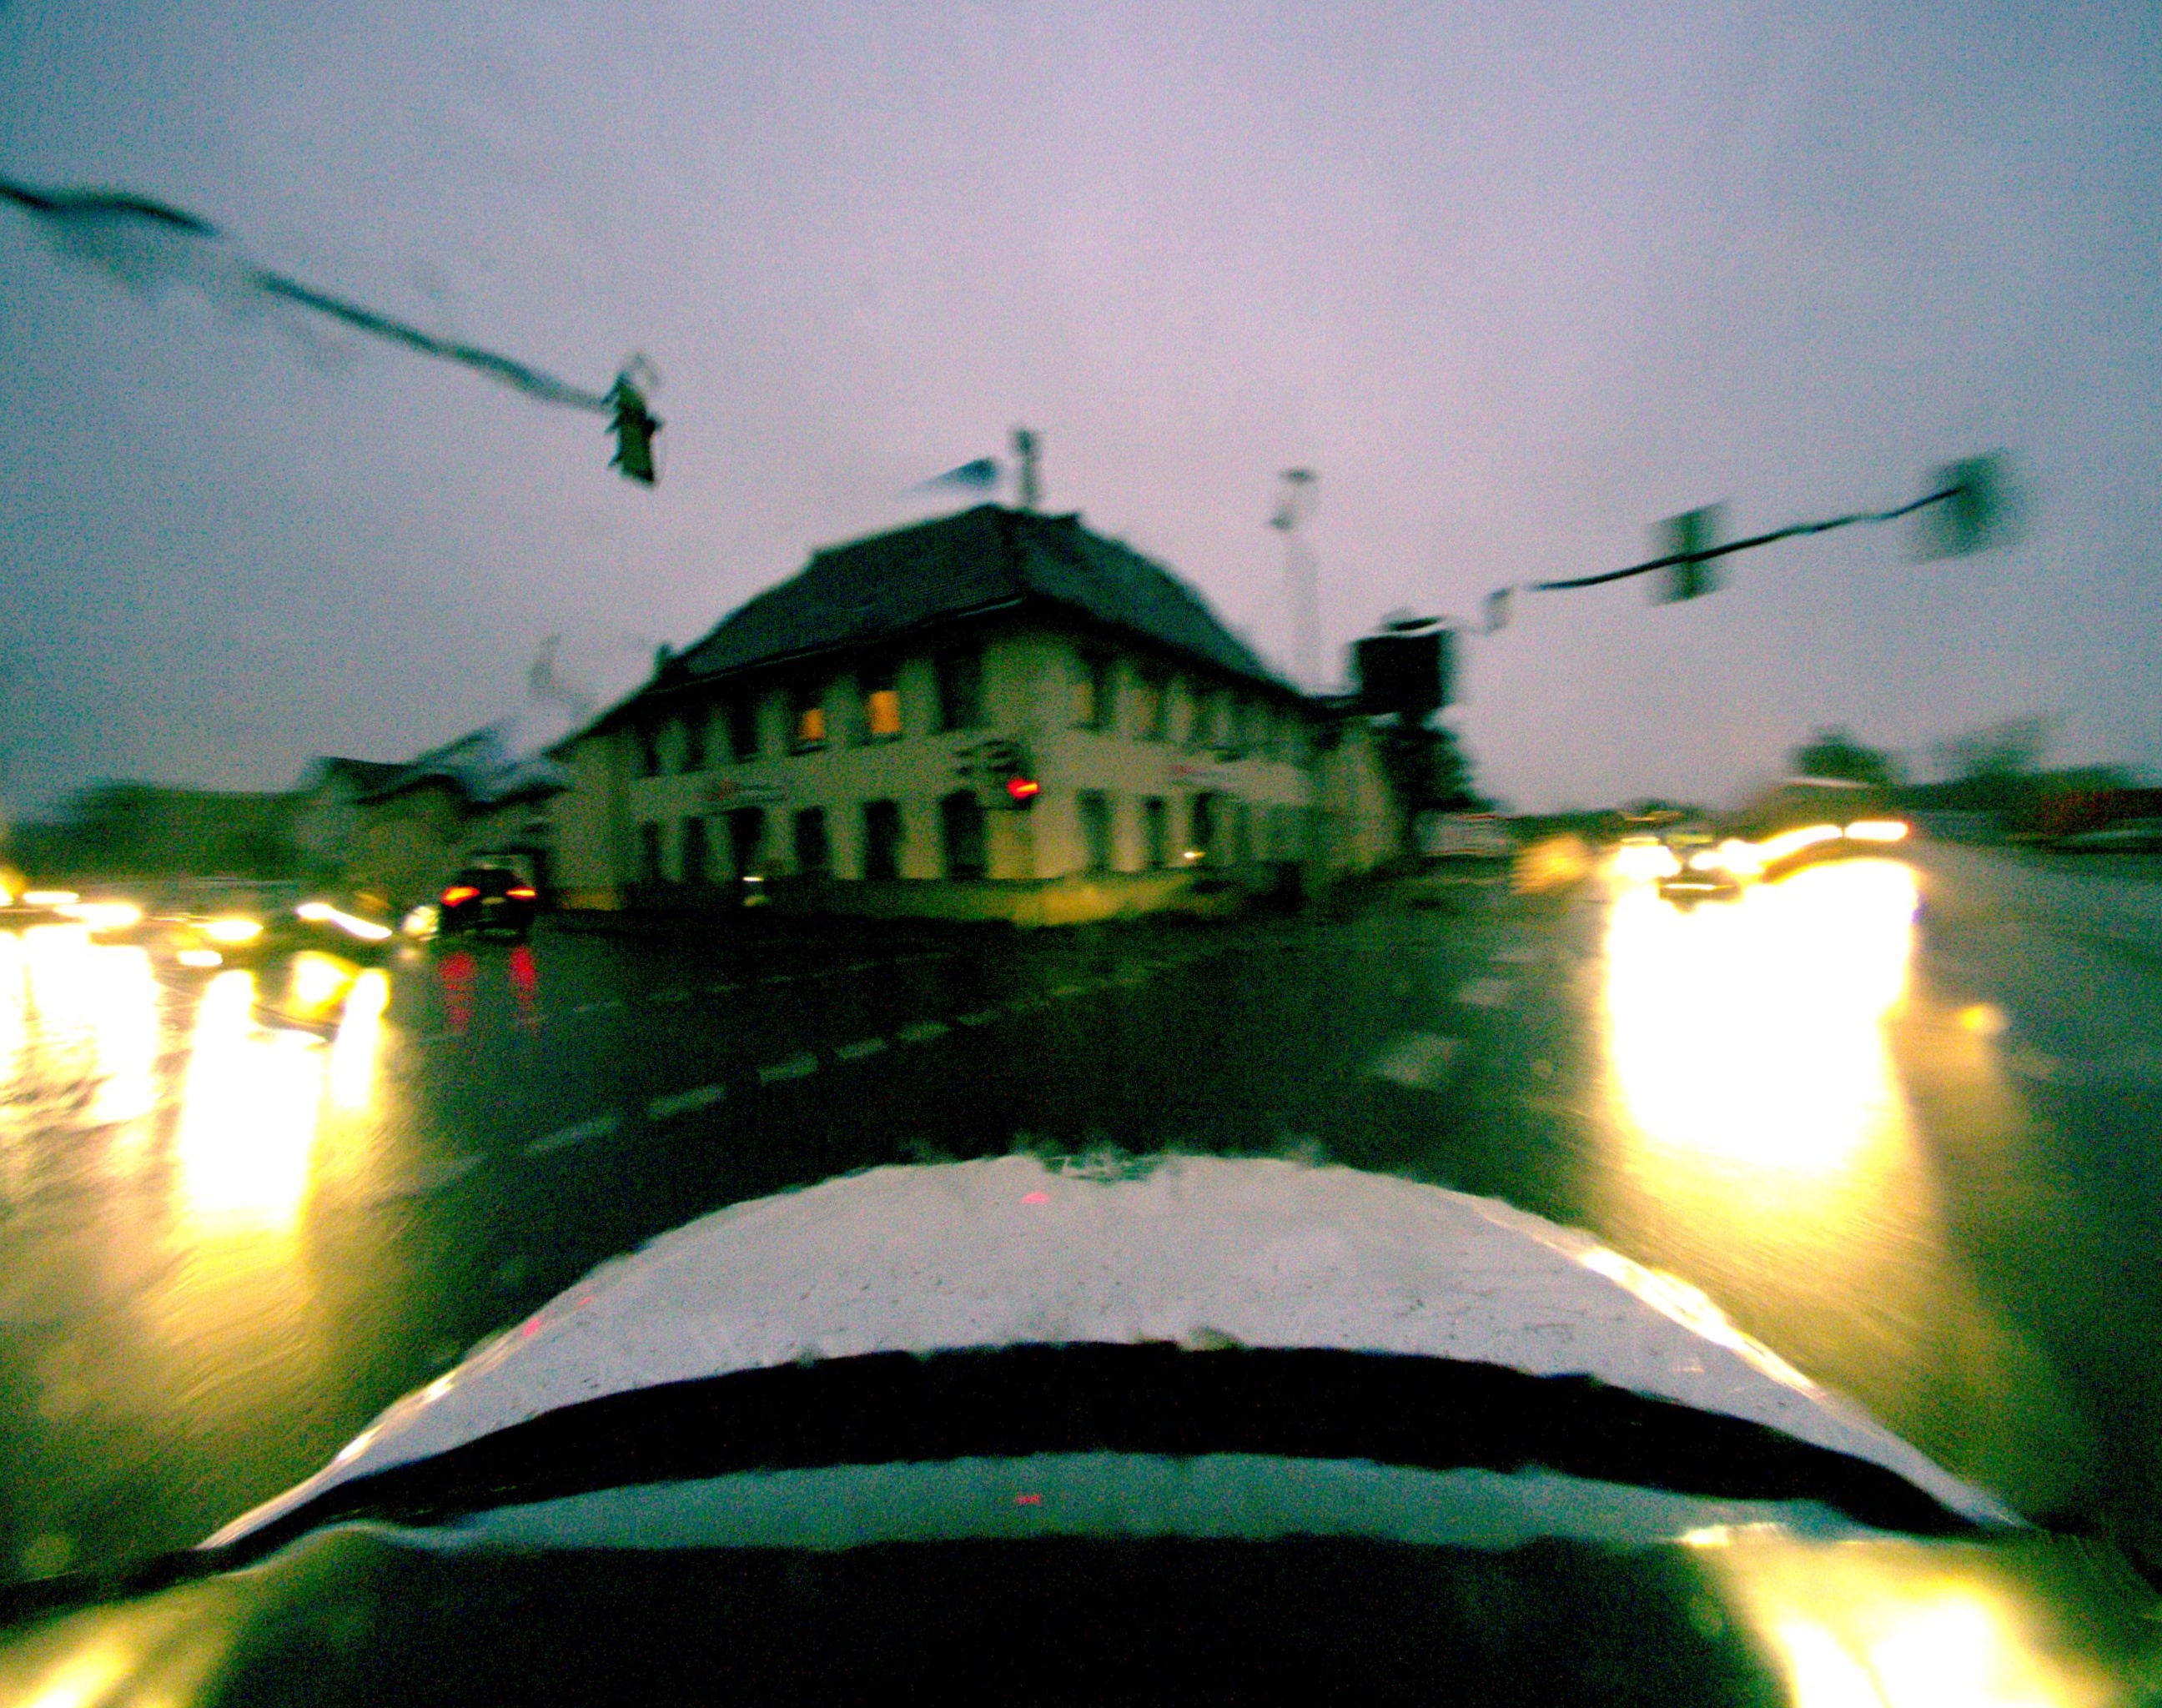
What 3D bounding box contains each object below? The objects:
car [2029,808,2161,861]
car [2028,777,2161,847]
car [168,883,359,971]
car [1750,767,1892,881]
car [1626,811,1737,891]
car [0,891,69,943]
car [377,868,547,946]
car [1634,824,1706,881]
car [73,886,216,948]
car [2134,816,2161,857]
[{"bbox_3d":[43.881,-0.819,34.927,2.012,2.013,3.950,-2,-1,-45],"label":"car"},{"bbox_3d":[46.954,-1.913,36.669,5.202,2.870,1.788,-3,-1,28],"label":"car"},{"bbox_3d":[-16.296,1.345,16.176,4.465,1.394,1.898,-1,1,35],"label":"car"},{"bbox_3d":[21.457,-0.837,23.917,2.378,2.892,6.291,1,2,36],"label":"car"},{"bbox_3d":[14.905,-0.099,20.177,1.974,1.746,4.026,-3,0,38],"label":"car"},{"bbox_3d":[-36.686,2.143,27.941,4.235,1.585,1.894,-2,1,32],"label":"car"},{"bbox_3d":[-14.901,1.225,19.522,4.642,1.573,2.067,-2,0,38],"label":"car"},{"bbox_3d":[19.898,-0.076,27.480,1.809,1.769,3.777,-2,1,37],"label":"car"},{"bbox_3d":[-24.737,1.582,21.485,4.230,1.373,1.843,-1,1,33],"label":"car"},{"bbox_3d":[43.317,-0.796,30.444,4.483,1.530,1.788,-3,-1,40],"label":"car"}]
